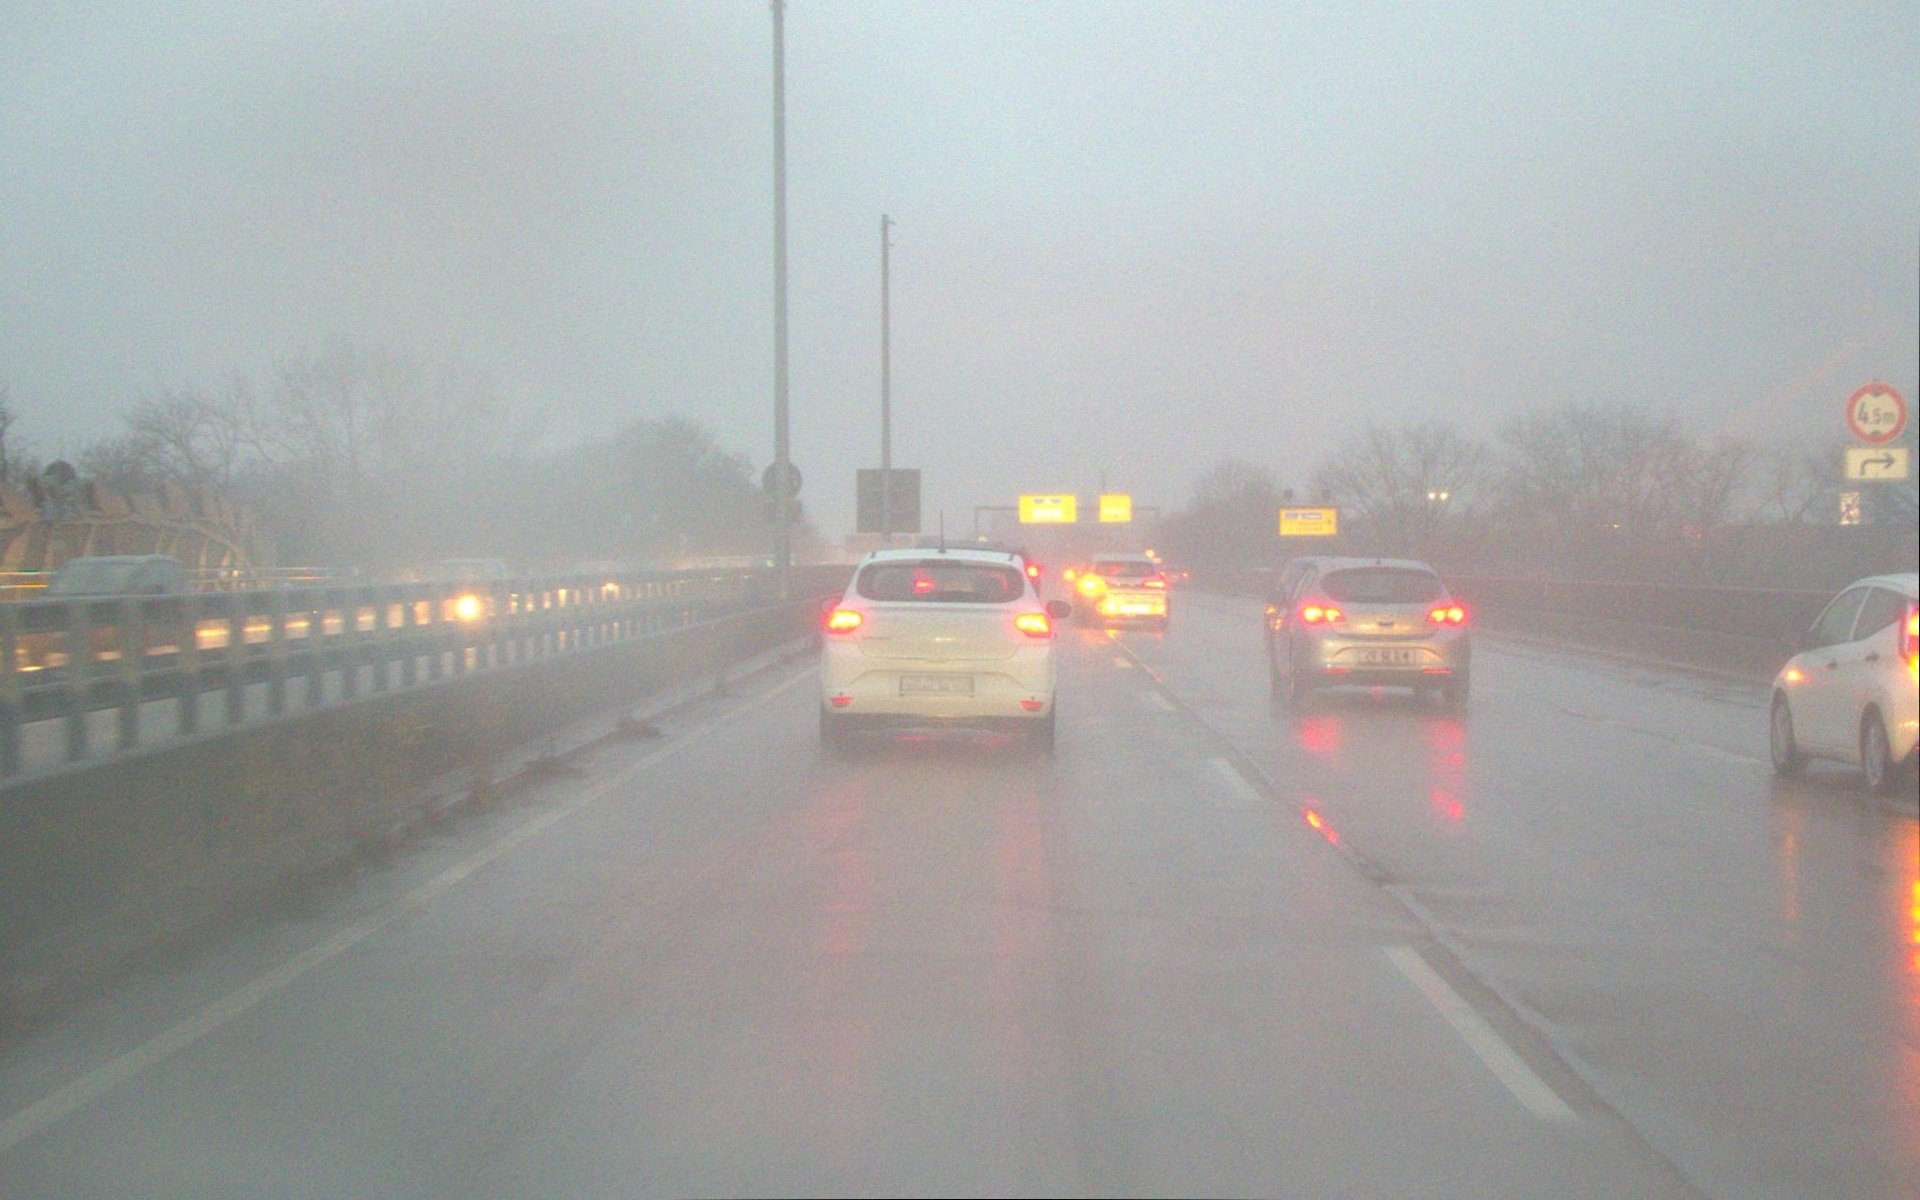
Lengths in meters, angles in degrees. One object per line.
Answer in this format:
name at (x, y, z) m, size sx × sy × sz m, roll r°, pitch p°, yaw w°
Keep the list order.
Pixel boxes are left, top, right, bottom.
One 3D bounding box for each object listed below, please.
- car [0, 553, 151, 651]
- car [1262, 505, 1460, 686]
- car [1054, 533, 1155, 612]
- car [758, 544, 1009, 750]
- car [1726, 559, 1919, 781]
car at (-14.194, 0.012, 54.434) m, size 1.894 × 1.459 × 4.000 m, roll -1°, pitch 1°, yaw -1°
car at (4.128, -0.084, 35.951) m, size 1.897 × 1.761 × 4.308 m, roll -1°, pitch 1°, yaw 5°
car at (2.898, -0.575, 69.561) m, size 1.789 × 1.540 × 4.000 m, roll 0°, pitch 1°, yaw -1°
car at (-0.517, 0.302, 26.555) m, size 1.724 × 1.435 × 4.226 m, roll -1°, pitch 1°, yaw 1°
car at (6.723, 0.422, 23.621) m, size 1.993 × 1.341 × 4.000 m, roll 0°, pitch 1°, yaw 0°
